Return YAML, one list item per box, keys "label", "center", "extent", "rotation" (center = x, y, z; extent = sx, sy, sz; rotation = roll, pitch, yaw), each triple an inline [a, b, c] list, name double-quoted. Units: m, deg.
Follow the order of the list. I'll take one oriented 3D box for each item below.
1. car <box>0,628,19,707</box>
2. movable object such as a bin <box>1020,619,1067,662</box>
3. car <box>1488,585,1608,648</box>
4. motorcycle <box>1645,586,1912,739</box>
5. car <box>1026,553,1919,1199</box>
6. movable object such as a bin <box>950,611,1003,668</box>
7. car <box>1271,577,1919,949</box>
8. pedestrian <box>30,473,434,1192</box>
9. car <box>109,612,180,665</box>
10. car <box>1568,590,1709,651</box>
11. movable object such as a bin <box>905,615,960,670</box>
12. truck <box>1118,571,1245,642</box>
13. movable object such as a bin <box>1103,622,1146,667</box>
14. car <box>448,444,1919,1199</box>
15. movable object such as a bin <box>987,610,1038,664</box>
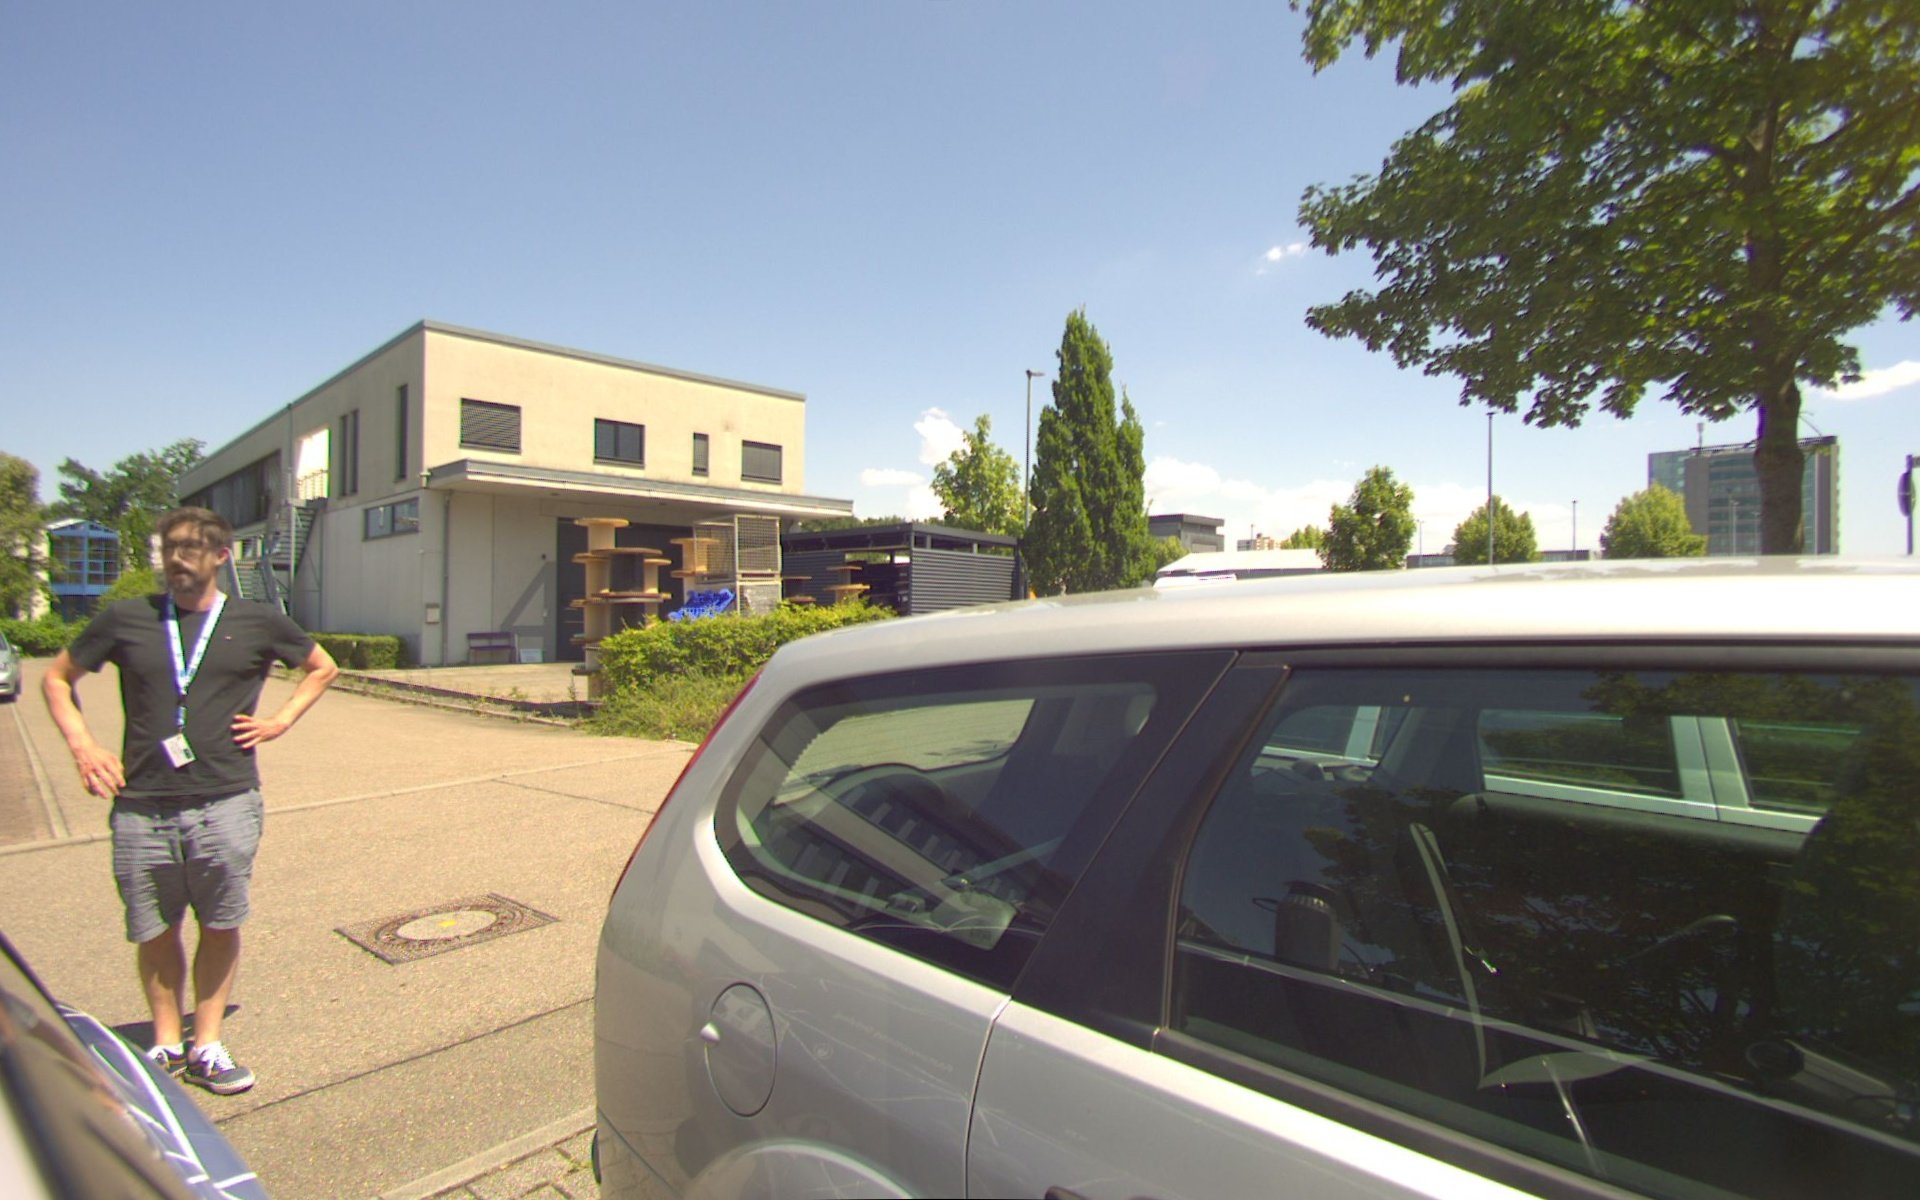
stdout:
- label: "car"
  center: [-19.072, 1.245, 19.172]
  extent: [1.686, 1.402, 3.816]
  rotation: [1, -1, -41]
- label: "movable object such as a bin"
  center: [2.208, 1.045, 26.722]
  extent: [0.972, 1.092, 0.761]
  rotation: [-1, -1, -40]
- label: "car"
  center: [17.404, 0.456, 29.909]
  extent: [3.936, 1.751, 1.776]
  rotation: [-1, 0, -39]
- label: "motorcycle"
  center: [8.037, 0.592, 10.057]
  extent: [1.986, 1.400, 0.478]
  rotation: [-2, -1, 38]
- label: "car"
  center: [2.272, 0.645, 3.092]
  extent: [3.886, 1.490, 1.632]
  rotation: [-1, -1, 38]
- label: "movable object such as a bin"
  center: [0.414, 0.963, 25.096]
  extent: [1.056, 1.346, 0.761]
  rotation: [-1, -1, -40]
- label: "car"
  center: [3.744, 0.645, 5.022]
  extent: [3.886, 1.459, 1.632]
  rotation: [-1, -1, 38]
- label: "pedestrian"
  center: [-2.306, 0.595, 3.209]
  extent: [0.904, 1.834, 0.849]
  rotation: [-2, -1, 41]
- label: "car"
  center: [-30.058, 1.360, 37.253]
  extent: [1.761, 1.817, 4.004]
  rotation: [-1, 0, -43]
- label: "car"
  center: [18.599, 0.536, 27.697]
  extent: [3.932, 1.533, 1.658]
  rotation: [-1, 0, -31]
- label: "movable object such as a bin"
  center: [-0.664, 1.007, 24.319]
  extent: [1.056, 1.280, 0.761]
  rotation: [-1, -1, -40]
- label: "truck"
  center: [9.190, 0.253, 41.603]
  extent: [5.614, 2.692, 2.420]
  rotation: [-1, -1, -45]
- label: "movable object such as a bin"
  center: [3.745, 1.006, 23.081]
  extent: [0.581, 0.977, 0.761]
  rotation: [-1, -1, -40]
- label: "car"
  center: [1.322, 0.651, 0.971]
  extent: [4.345, 1.490, 1.702]
  rotation: [-1, -1, 41]
- label: "movable object such as a bin"
  center: [1.355, 0.929, 26.042]
  extent: [1.056, 1.346, 0.761]
  rotation: [-1, -1, -40]
